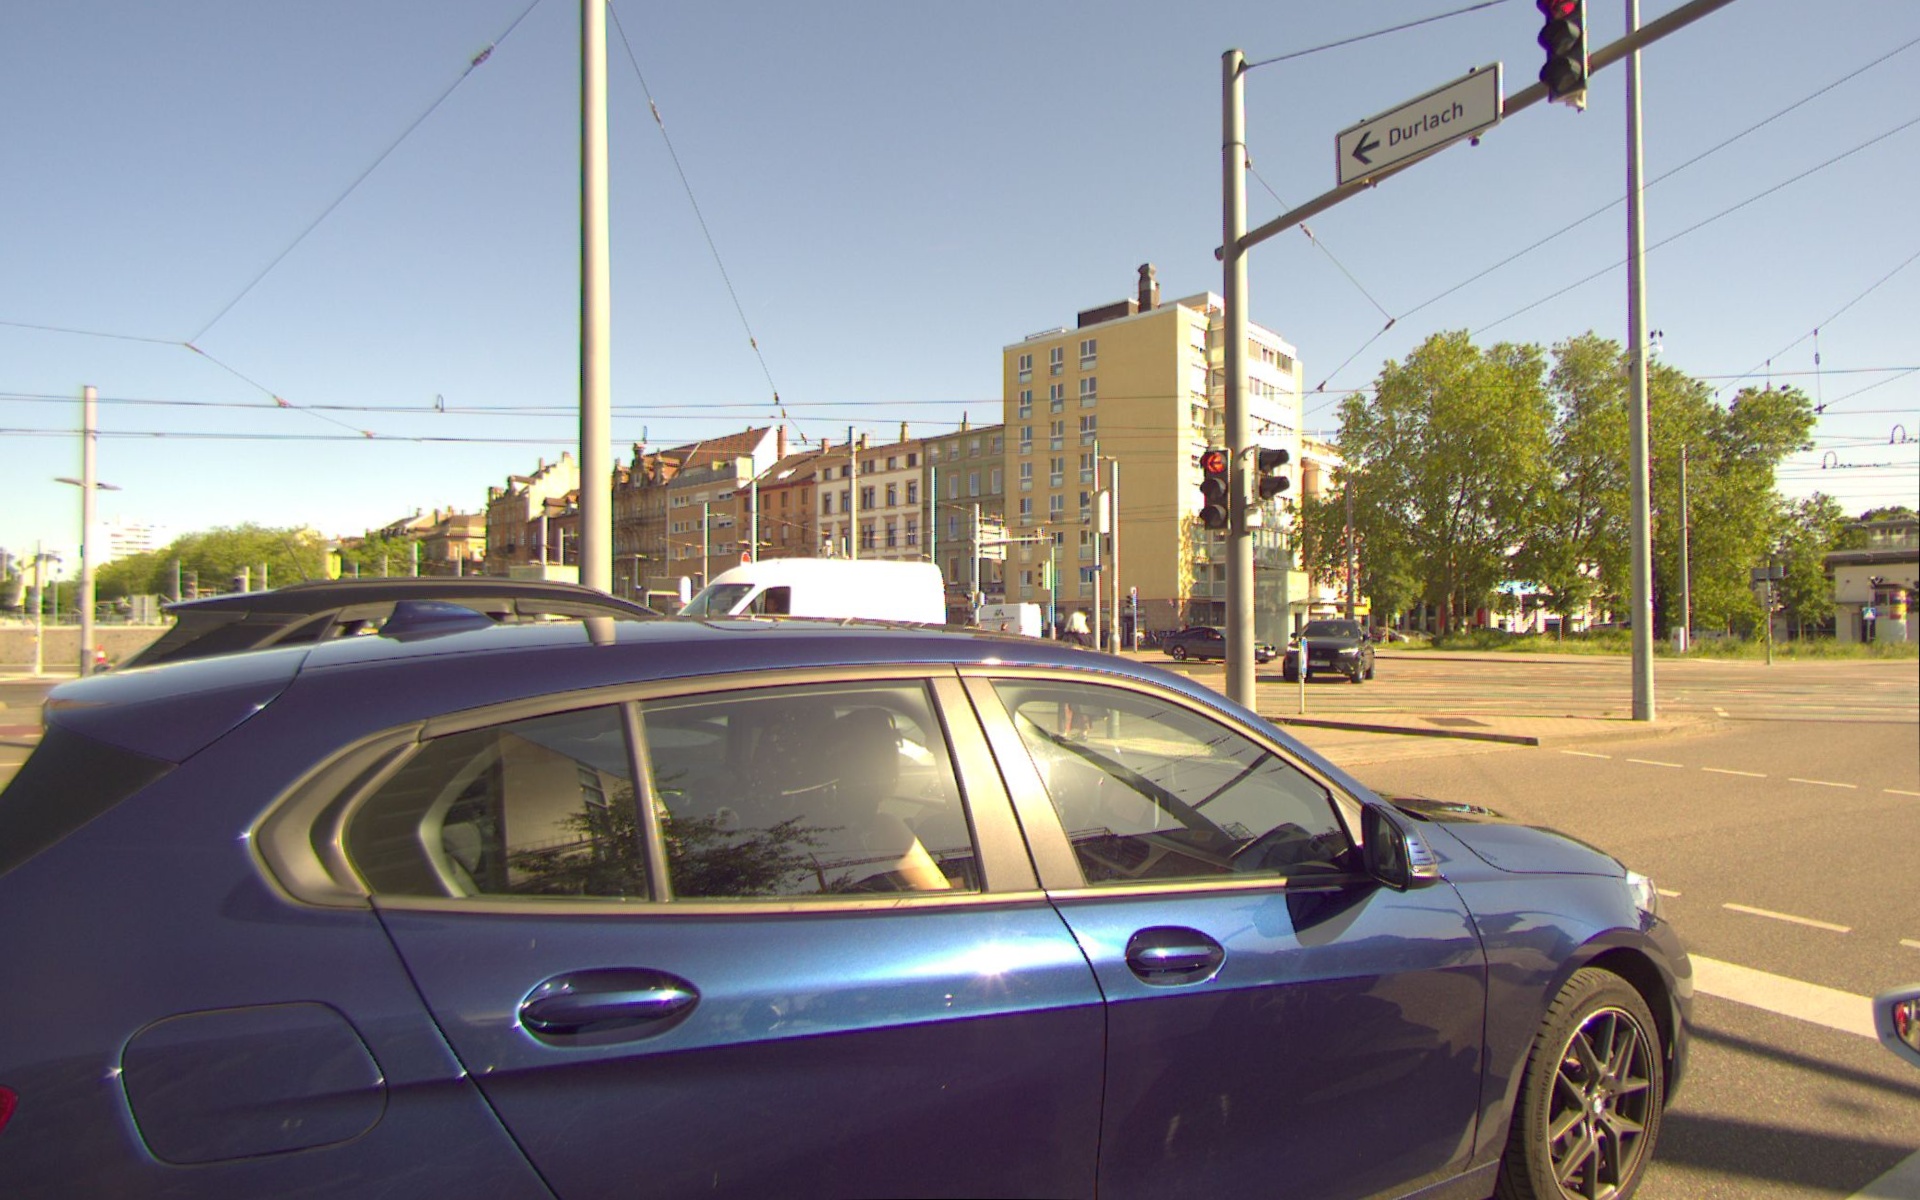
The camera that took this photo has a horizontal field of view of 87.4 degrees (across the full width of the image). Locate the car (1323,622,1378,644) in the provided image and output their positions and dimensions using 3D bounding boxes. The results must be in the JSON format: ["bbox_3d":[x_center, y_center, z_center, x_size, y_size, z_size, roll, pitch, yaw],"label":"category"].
[{"bbox_3d":[29.996,2.515,77.216,3.691,1.684,1.586,-1,-2,42],"label":"car"}]

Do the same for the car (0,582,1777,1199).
[{"bbox_3d":[0.121,0.746,2.535,3.984,1.464,1.703,1,0,-30],"label":"car"}]

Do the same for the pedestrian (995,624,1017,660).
[{"bbox_3d":[2.065,1.891,45.243,0.669,1.593,0.740,1,-2,-45],"label":"pedestrian"}]

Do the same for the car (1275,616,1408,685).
[{"bbox_3d":[10.170,1.292,26.638,1.845,1.681,4.047,-1,-2,44],"label":"car"}]

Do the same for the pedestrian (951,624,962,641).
[{"bbox_3d":[-0.277,2.419,75.036,0.739,1.220,0.422,-1,-2,42],"label":"pedestrian"}]

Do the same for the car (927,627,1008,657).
[{"bbox_3d":[0.339,2.106,51.164,4.119,1.457,1.717,-1,-2,44],"label":"car"}]

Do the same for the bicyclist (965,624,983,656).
[{"bbox_3d":[0.640,1.846,46.288,0.609,1.462,0.614,1,-1,-30],"label":"bicyclist"}]

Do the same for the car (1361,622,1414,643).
[{"bbox_3d":[34.982,2.650,82.251,3.691,1.684,1.586,-1,-2,42],"label":"car"}]

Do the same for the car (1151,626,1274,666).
[{"bbox_3d":[10.203,1.826,40.738,4.501,1.521,1.856,-1,-2,41],"label":"car"}]

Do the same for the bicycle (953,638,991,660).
[{"bbox_3d":[0.552,2.253,46.222,1.666,0.958,0.614,1,-2,-30],"label":"bicycle"}]

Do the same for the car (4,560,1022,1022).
[{"bbox_3d":[-1.827,0.673,5.061,3.959,1.537,1.751,1,-1,-28],"label":"car"}]

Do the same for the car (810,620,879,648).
[{"bbox_3d":[-7.178,2.068,62.061,4.244,1.675,1.849,-1,-2,40],"label":"car"}]

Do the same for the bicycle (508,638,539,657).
[{"bbox_3d":[-20.308,2.200,46.732,0.674,0.890,1.873,1,-2,-45],"label":"bicycle"}]

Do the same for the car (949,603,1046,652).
[{"bbox_3d":[2.191,1.639,60.223,5.838,2.780,2.133,-1,-2,42],"label":"car"}]

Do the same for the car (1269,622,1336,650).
[{"bbox_3d":[21.707,2.270,63.706,3.691,1.684,1.586,-1,-2,42],"label":"car"}]

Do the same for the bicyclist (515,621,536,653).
[{"bbox_3d":[-20.253,1.703,46.813,0.774,1.474,0.674,-1,-2,43],"label":"bicyclist"}]

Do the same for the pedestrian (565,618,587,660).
[{"bbox_3d":[-16.250,1.650,42.498,0.672,1.735,0.793,1,-1,-38],"label":"pedestrian"}]

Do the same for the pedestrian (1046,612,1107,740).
[{"bbox_3d":[1.450,0.936,12.588,0.746,1.575,0.357,0,-1,4],"label":"pedestrian"}]

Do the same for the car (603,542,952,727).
[{"bbox_3d":[-2.772,0.540,16.331,5.379,2.541,1.976,1,-2,-42],"label":"car"}]
